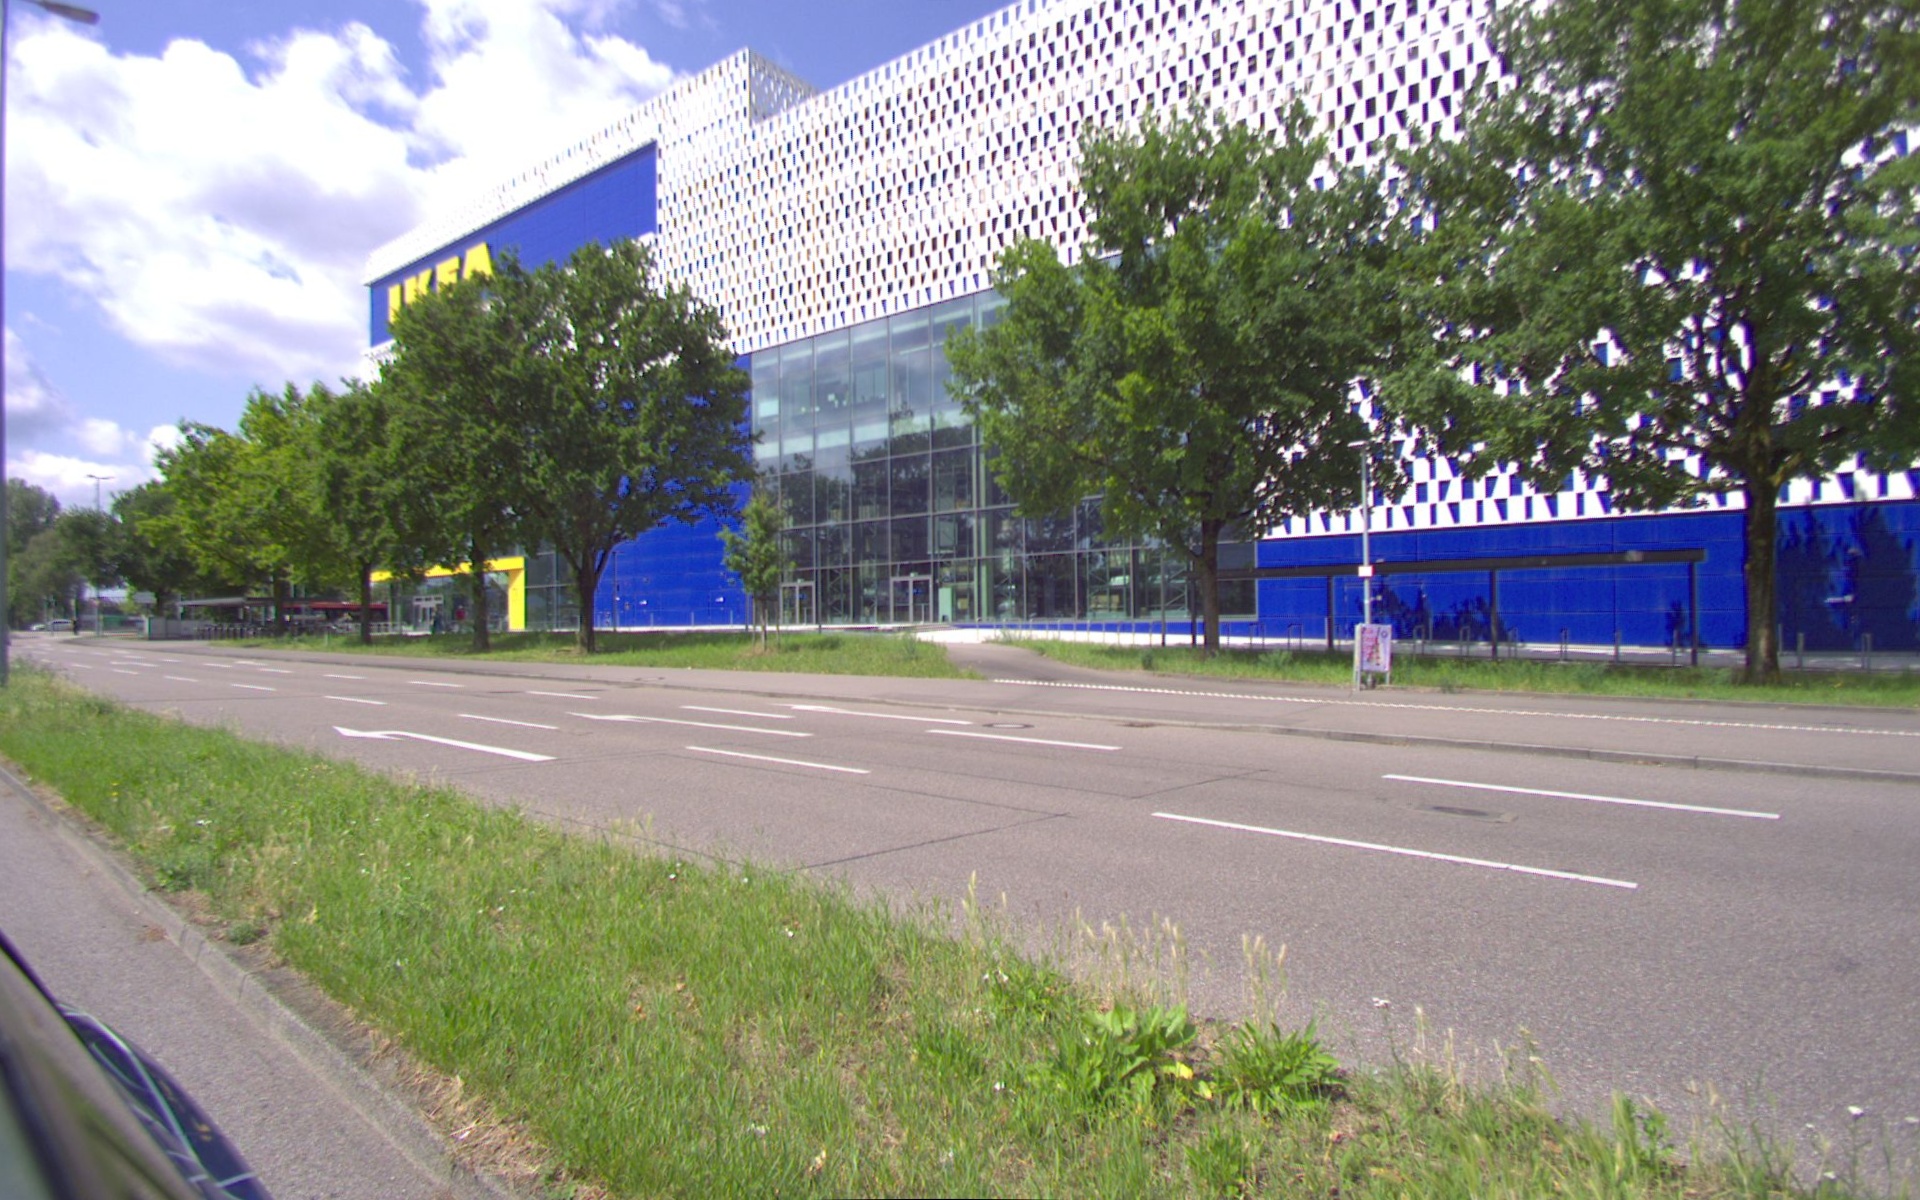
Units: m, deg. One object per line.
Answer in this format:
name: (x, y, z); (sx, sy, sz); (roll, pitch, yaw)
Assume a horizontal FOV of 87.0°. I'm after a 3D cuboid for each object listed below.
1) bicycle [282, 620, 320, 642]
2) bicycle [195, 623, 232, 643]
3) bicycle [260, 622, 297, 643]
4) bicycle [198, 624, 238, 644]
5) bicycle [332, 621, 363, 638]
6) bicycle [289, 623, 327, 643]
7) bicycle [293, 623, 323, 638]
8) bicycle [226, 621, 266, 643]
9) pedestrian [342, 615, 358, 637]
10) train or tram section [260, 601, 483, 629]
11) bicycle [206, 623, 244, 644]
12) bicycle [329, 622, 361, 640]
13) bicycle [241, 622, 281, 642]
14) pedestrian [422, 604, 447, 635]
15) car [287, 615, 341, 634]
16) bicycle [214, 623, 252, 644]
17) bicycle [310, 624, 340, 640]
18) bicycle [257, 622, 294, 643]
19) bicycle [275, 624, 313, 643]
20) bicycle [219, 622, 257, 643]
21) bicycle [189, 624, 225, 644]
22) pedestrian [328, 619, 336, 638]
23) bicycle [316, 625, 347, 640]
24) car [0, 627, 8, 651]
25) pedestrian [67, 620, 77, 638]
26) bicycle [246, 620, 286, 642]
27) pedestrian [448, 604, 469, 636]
bicycle: (-41.552, 1.940, 63.803); (0.629, 1.282, 1.906); (-2, -1, 39)
bicycle: (-50.257, 2.210, 68.173); (0.629, 1.282, 1.906); (-2, -1, 39)
bicycle: (-44.581, 2.130, 66.212); (0.629, 1.282, 1.906); (-2, -1, 39)
bicycle: (-49.482, 2.244, 67.483); (0.629, 1.282, 2.069); (-2, -1, 39)
bicycle: (-45.619, 2.195, 75.371); (0.528, 1.219, 1.917); (-1, -1, 35)
bicycle: (-40.737, 2.058, 63.275); (0.629, 1.193, 1.906); (-2, -1, 39)
bicycle: (-50.322, 2.331, 78.104); (0.528, 1.078, 1.917); (-1, -1, 35)
bicycle: (-44.831, 2.006, 63.555); (0.629, 1.282, 1.906); (-2, -1, 39)
pedestrian: (-47.138, 2.011, 78.211); (0.710, 1.719, 0.887); (-1, -1, 38)
train or tram section: (-74.209, 2.080, 129.296); (4.523, 3.055, 24.809); (-2, -3, 37)
bicycle: (-48.457, 2.204, 66.750); (0.629, 1.282, 1.906); (-2, -1, 39)
bicycle: (-45.299, 2.266, 74.561); (0.596, 1.253, 1.928); (-1, -1, 35)
bicycle: (-42.895, 1.956, 62.110); (0.629, 1.192, 1.906); (-2, -1, 39)
pedestrian: (-29.862, 1.095, 57.504); (0.886, 1.715, 0.941); (-1, 0, 39)
car: (-73.249, 2.769, 114.867); (1.996, 2.029, 4.764); (-2, -1, 36)
bicycle: (-47.407, 2.188, 66.000); (0.629, 1.282, 1.906); (-2, -1, 39)
bicycle: (-48.087, 2.415, 76.635); (0.519, 1.098, 1.913); (-2, -1, 35)
bicycle: (-45.273, 2.143, 66.961); (0.629, 1.282, 1.906); (-2, -1, 39)
bicycle: (-42.413, 2.137, 64.471); (0.629, 1.188, 1.906); (-2, -1, 39)
bicycle: (-46.593, 2.063, 65.291); (0.629, 1.282, 1.906); (-2, -1, 39)
bicycle: (-51.318, 2.289, 68.997); (0.629, 1.282, 1.906); (-2, -1, 39)
pedestrian: (-57.557, 2.589, 92.767); (0.515, 1.716, 0.405); (-2, -1, 33)
bicycle: (-47.125, 2.410, 75.932); (0.528, 1.078, 1.917); (-1, -1, 35)
car: (-58.406, 2.310, 60.606); (3.668, 1.440, 1.626); (-1, -2, 41)
pedestrian: (-77.892, 2.535, 88.809); (0.616, 1.501, 0.435); (-1, -1, 23)
bicycle: (-42.072, 1.871, 61.393); (0.629, 1.282, 1.906); (-2, -1, 39)
pedestrian: (-29.122, 1.142, 58.775); (0.886, 1.836, 0.746); (-1, 0, 39)
